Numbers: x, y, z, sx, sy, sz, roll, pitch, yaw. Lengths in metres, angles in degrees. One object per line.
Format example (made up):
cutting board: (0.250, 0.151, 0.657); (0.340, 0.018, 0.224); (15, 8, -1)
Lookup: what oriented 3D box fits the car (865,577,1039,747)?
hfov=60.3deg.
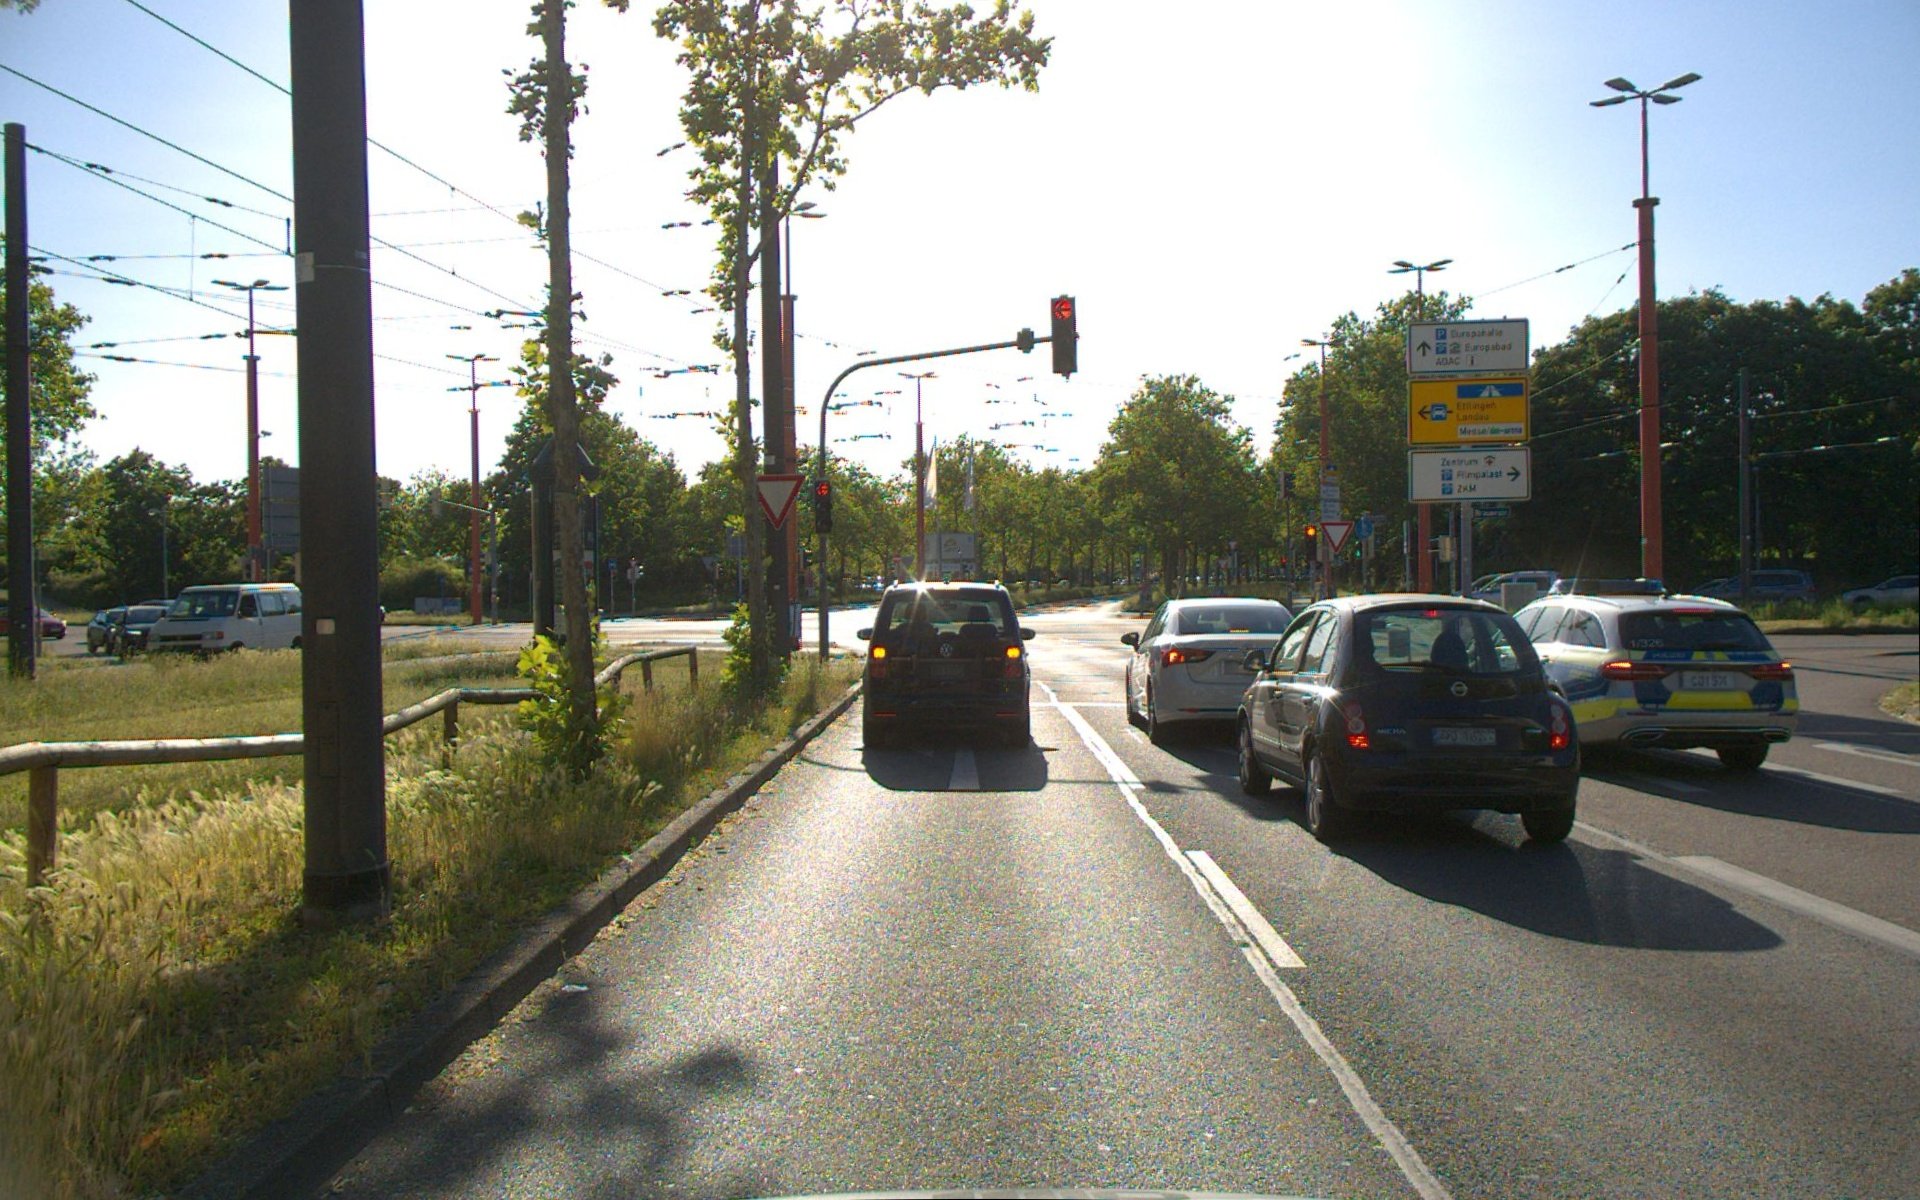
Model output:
car: (-0.104, 0.599, 17.618); (1.675, 1.631, 3.349); (0, 0, -1)

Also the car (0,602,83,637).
car: (-41.857, 0.872, 74.587); (3.950, 1.461, 1.817); (0, 3, 19)

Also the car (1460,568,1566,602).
car: (22.428, -0.587, 67.105); (3.909, 1.361, 1.727); (0, 0, 26)

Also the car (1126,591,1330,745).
car: (2.821, 0.668, 18.206); (1.644, 1.501, 4.131); (0, 0, 1)

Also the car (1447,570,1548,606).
car: (22.873, -0.511, 70.433); (3.908, 1.502, 1.788); (0, 0, 26)

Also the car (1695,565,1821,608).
car: (30.317, -0.500, 62.929); (4.265, 1.586, 1.871); (0, 0, 25)

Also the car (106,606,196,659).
car: (-25.492, 0.987, 52.046); (1.878, 1.570, 4.444); (0, 0, -35)

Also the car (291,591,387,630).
car: (-29.632, 0.485, 78.953); (3.903, 1.649, 1.901); (-2, 2, 19)

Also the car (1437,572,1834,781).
car: (6.091, 0.590, 15.576); (1.854, 1.661, 4.501); (-1, 1, -1)

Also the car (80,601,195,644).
car: (-35.938, 0.982, 72.301); (4.391, 1.638, 1.901); (-2, 2, 19)

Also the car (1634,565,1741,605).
car: (29.425, -0.582, 66.882); (3.909, 1.588, 1.898); (0, 0, 27)

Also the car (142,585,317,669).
car: (-16.776, 0.589, 38.242); (1.785, 1.811, 4.569); (0, 0, 3)

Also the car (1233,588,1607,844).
car: (3.026, 0.680, 11.596); (1.605, 1.520, 3.502); (0, 0, -1)

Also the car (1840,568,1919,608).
car: (36.015, -0.461, 63.462); (3.909, 1.521, 1.859); (0, 0, 27)

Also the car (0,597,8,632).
car: (-47.722, 0.707, 78.495); (4.391, 1.638, 1.901); (0, 3, 19)

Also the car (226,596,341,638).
car: (-29.506, 0.736, 72.167); (4.391, 1.638, 1.901); (-2, 2, 19)
